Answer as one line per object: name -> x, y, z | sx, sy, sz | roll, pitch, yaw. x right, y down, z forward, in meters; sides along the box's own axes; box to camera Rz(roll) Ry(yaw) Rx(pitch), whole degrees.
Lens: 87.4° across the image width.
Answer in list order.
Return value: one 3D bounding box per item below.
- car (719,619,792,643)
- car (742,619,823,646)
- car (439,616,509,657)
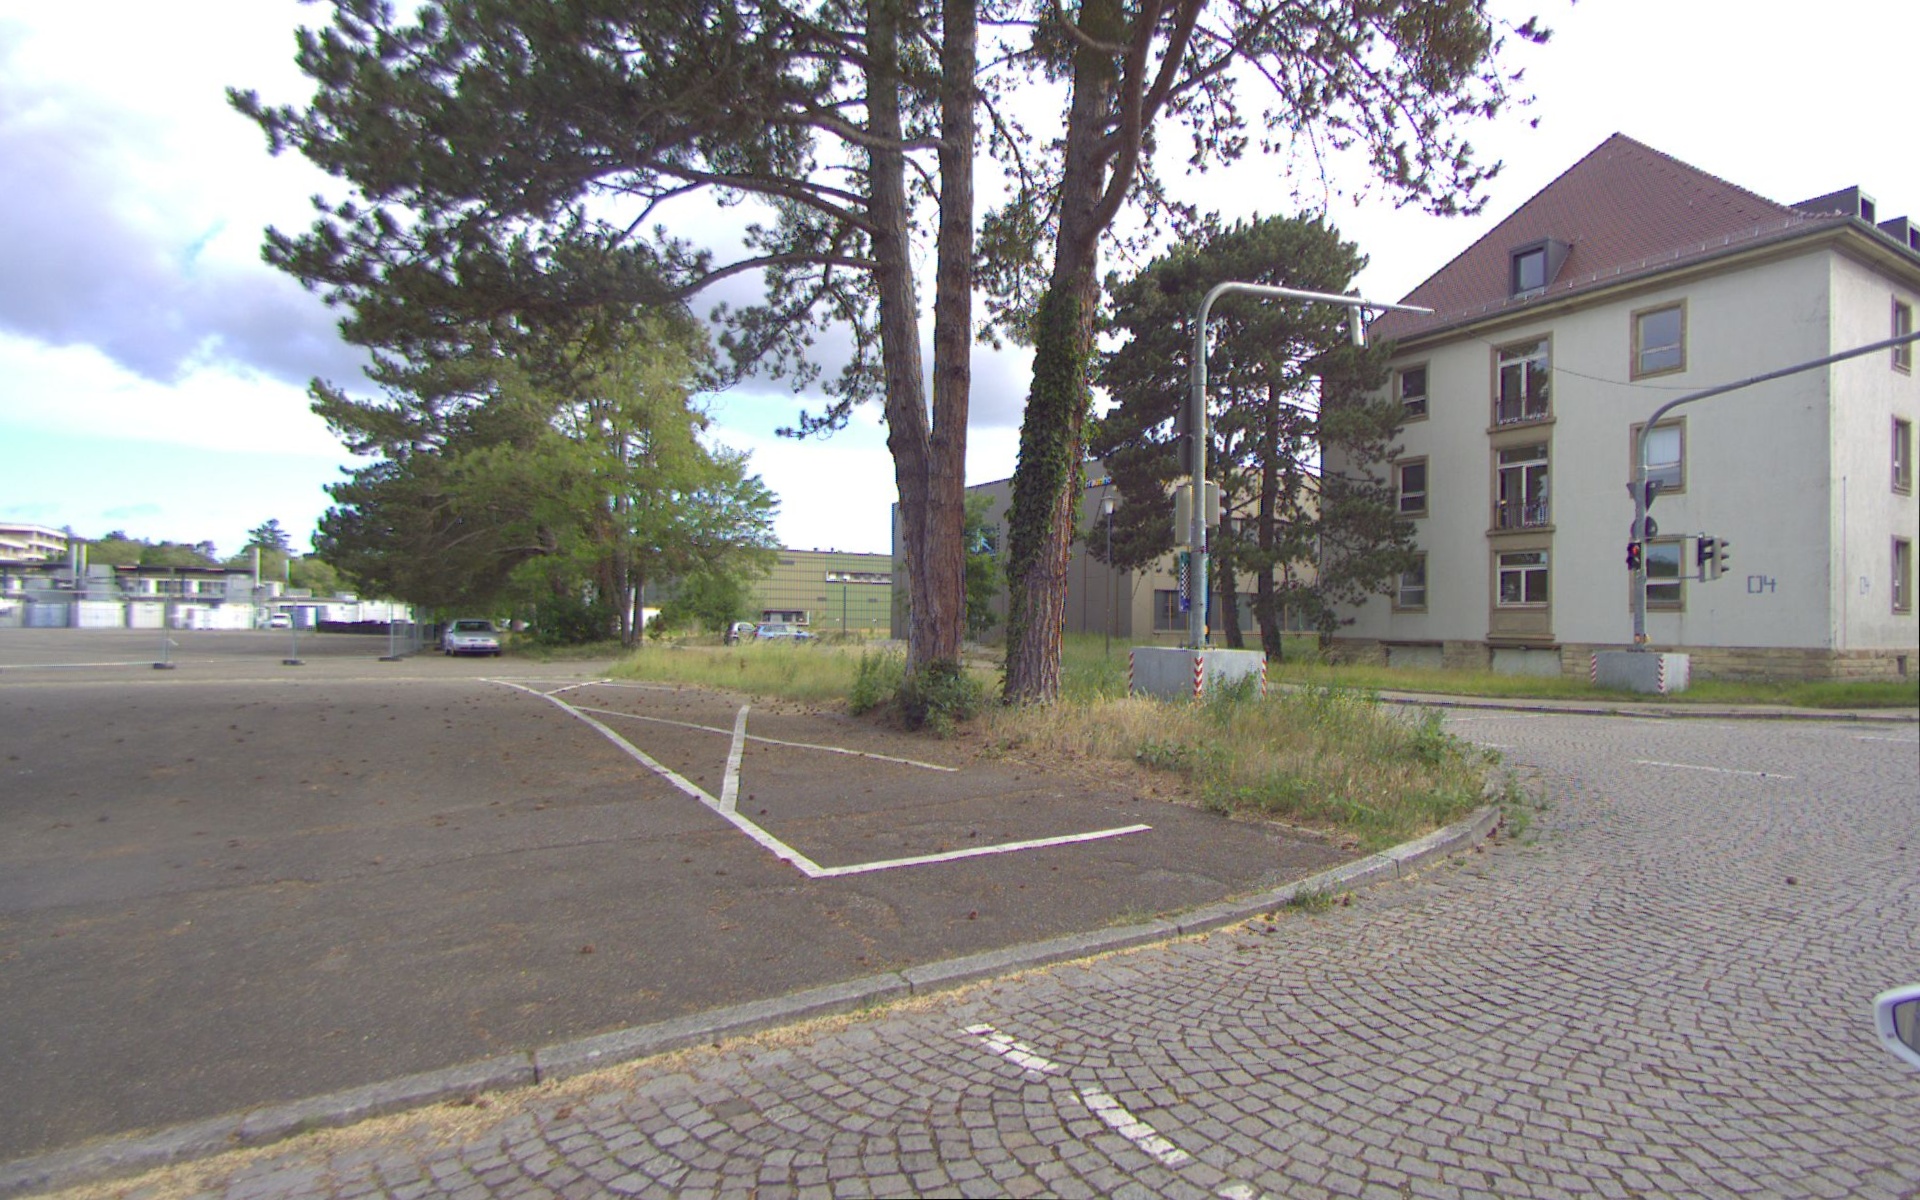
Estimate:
car -> -13.891, 2.076, 68.152 | 4.480, 1.552, 1.984 | 0, 0, -31
car -> -10.832, 1.967, 61.385 | 4.486, 1.552, 1.981 | 0, 0, -35
car -> -19.020, 1.379, 39.210 | 1.905, 1.496, 4.329 | 2, -2, -33
